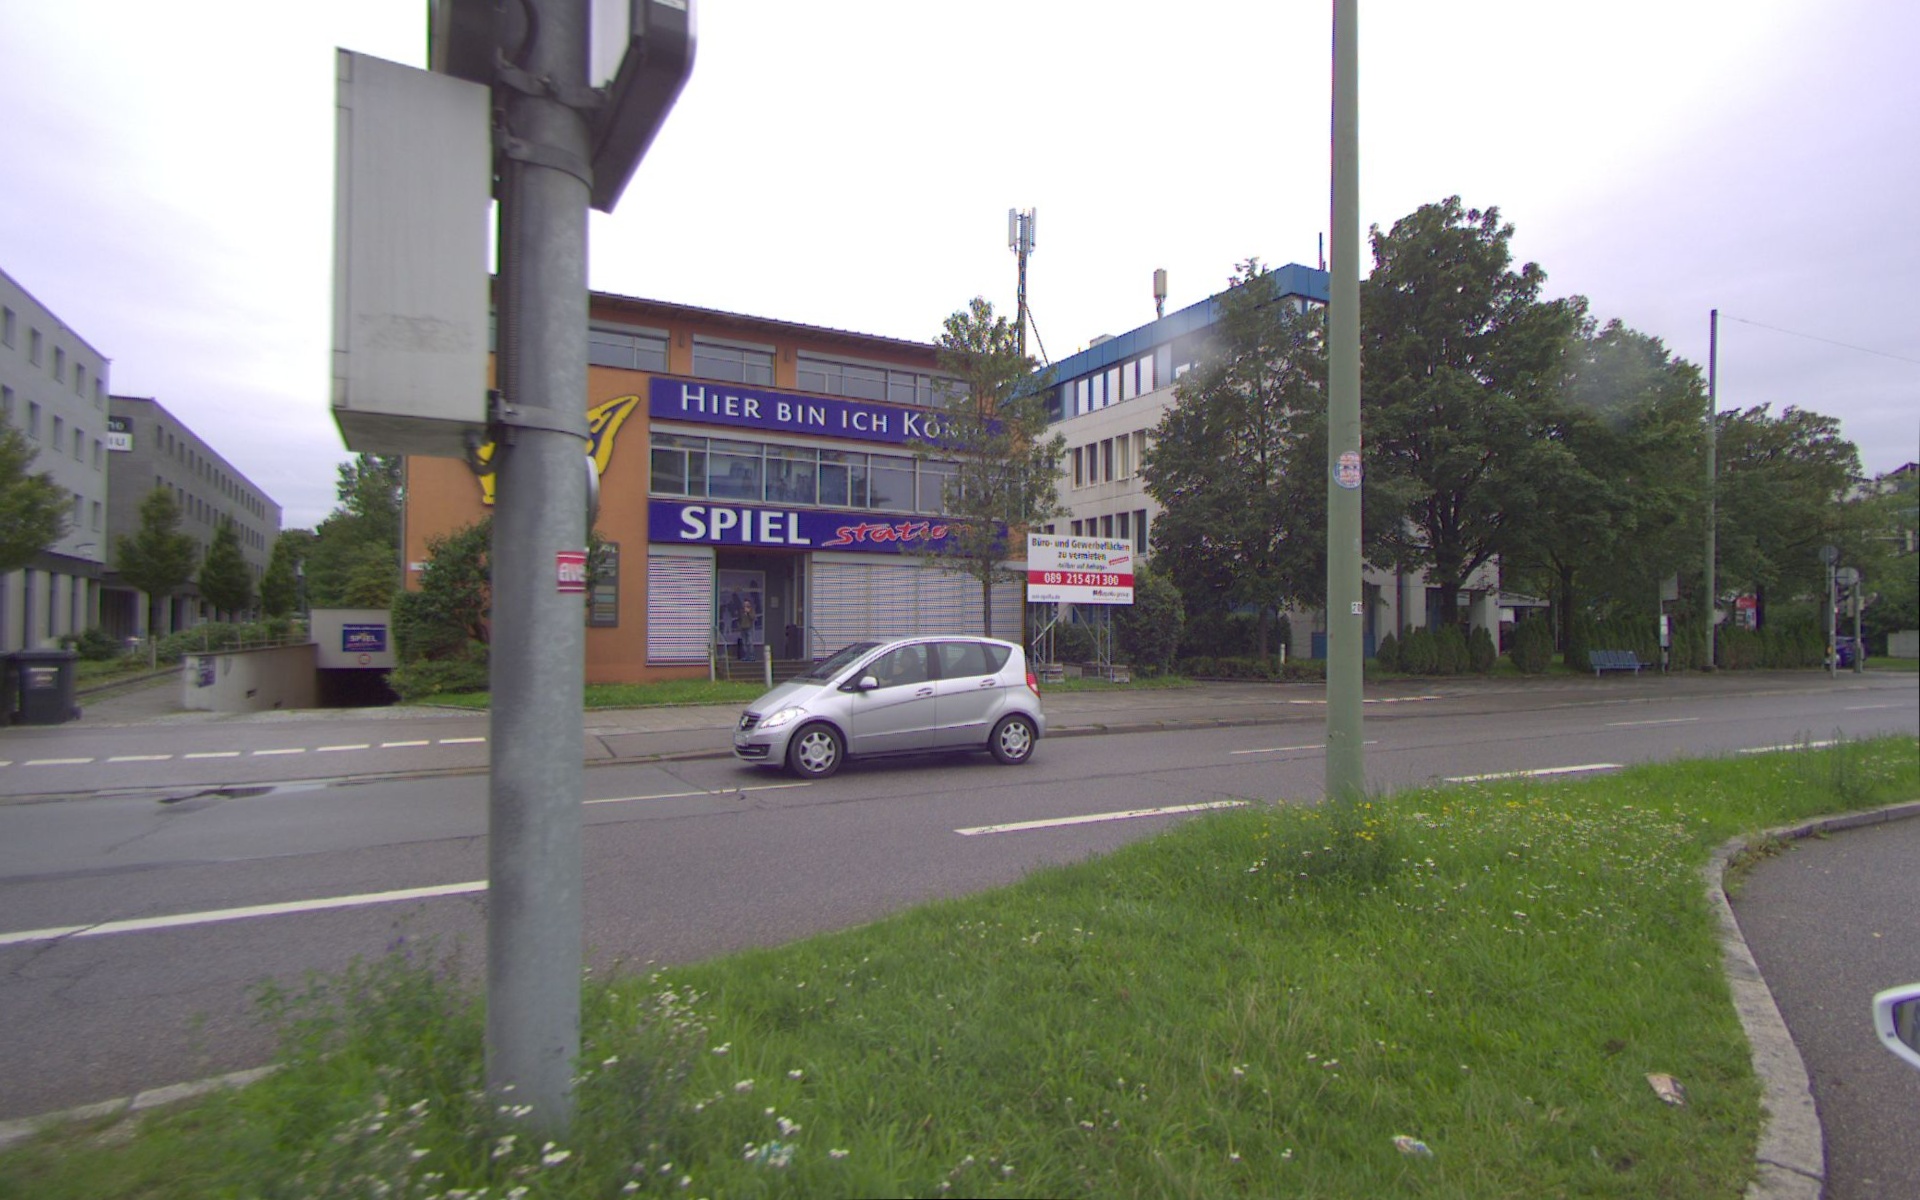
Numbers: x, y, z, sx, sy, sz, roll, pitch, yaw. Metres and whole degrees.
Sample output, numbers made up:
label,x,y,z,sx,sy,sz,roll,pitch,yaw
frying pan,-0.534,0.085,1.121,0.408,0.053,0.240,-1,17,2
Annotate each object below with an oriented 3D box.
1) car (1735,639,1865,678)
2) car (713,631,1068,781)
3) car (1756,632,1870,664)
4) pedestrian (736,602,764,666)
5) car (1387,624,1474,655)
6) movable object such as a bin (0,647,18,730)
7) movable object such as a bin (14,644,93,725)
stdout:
label,x,y,z,sx,sy,sz,roll,pitch,yaw
car,40.118,2.769,48.133,1.962,1.745,4.788,1,-3,-5
car,-0.828,1.199,12.314,3.975,1.578,1.808,1,-3,-27
car,45.678,2.566,53.907,1.969,1.595,4.265,-1,-2,-19
pedestrian,-5.733,0.928,27.401,0.653,1.735,0.657,1,-1,-20
car,23.661,1.953,50.678,1.837,1.437,4.168,1,-1,-11
movable object such as a bin,-13.250,1.188,13.508,0.647,1.092,0.734,1,-1,-28
movable object such as a bin,-12.907,1.182,14.322,0.647,1.092,0.734,1,-1,-28
